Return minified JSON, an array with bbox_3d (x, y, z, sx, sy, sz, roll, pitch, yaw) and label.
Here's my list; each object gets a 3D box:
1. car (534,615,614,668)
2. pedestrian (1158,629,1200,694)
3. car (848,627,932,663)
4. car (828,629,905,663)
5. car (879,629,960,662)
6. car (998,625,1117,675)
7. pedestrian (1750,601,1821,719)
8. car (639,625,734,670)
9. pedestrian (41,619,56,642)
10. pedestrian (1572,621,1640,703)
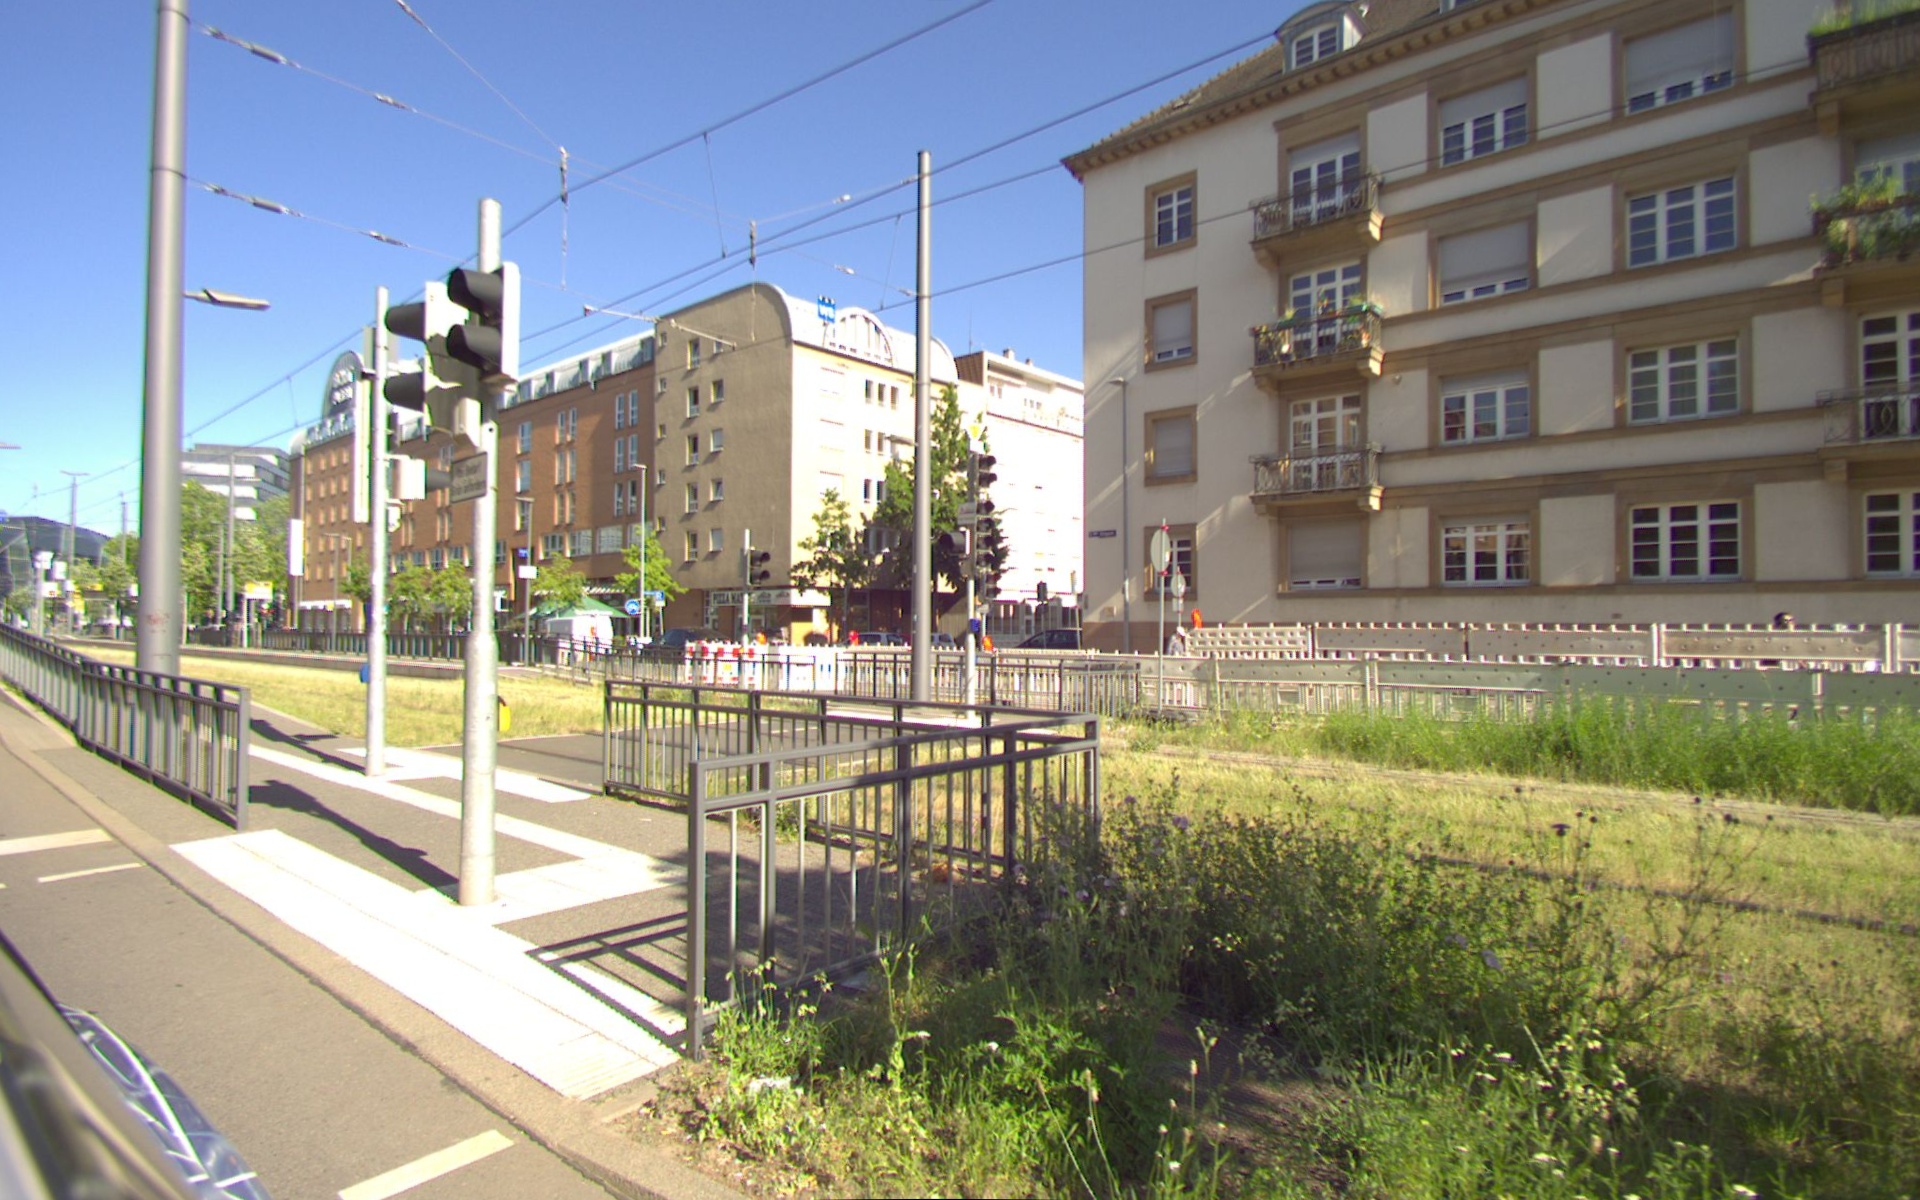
[{"bbox_3d":[-18.497,1.918,48.347,1.969,2.314,5.197,0,0,-41],"label":"car"},{"bbox_3d":[5.274,1.463,24.334,0.803,1.515,0.703,-1,-2,32],"label":"pedestrian"},{"bbox_3d":[-3.385,2.139,48.695,3.955,1.564,1.457,0,0,33],"label":"car"},{"bbox_3d":[-4.319,2.107,46.672,3.334,1.439,1.423,0,0,29],"label":"car"},{"bbox_3d":[-2.073,2.242,50.911,3.997,1.497,1.693,0,0,40],"label":"car"},{"bbox_3d":[3.550,1.786,37.126,3.994,1.652,1.845,0,0,38],"label":"car"},{"bbox_3d":[13.524,0.951,16.585,0.871,1.877,0.758,0,0,41],"label":"pedestrian"},{"bbox_3d":[-10.953,1.853,40.394,3.996,1.652,1.677,0,0,40],"label":"car"},{"bbox_3d":[-74.835,2.491,83.092,0.810,1.903,0.769,2,-3,-45],"label":"pedestrian"},{"bbox_3d":[12.622,1.183,19.770,1.020,1.529,0.778,0,0,41],"label":"pedestrian"}]
